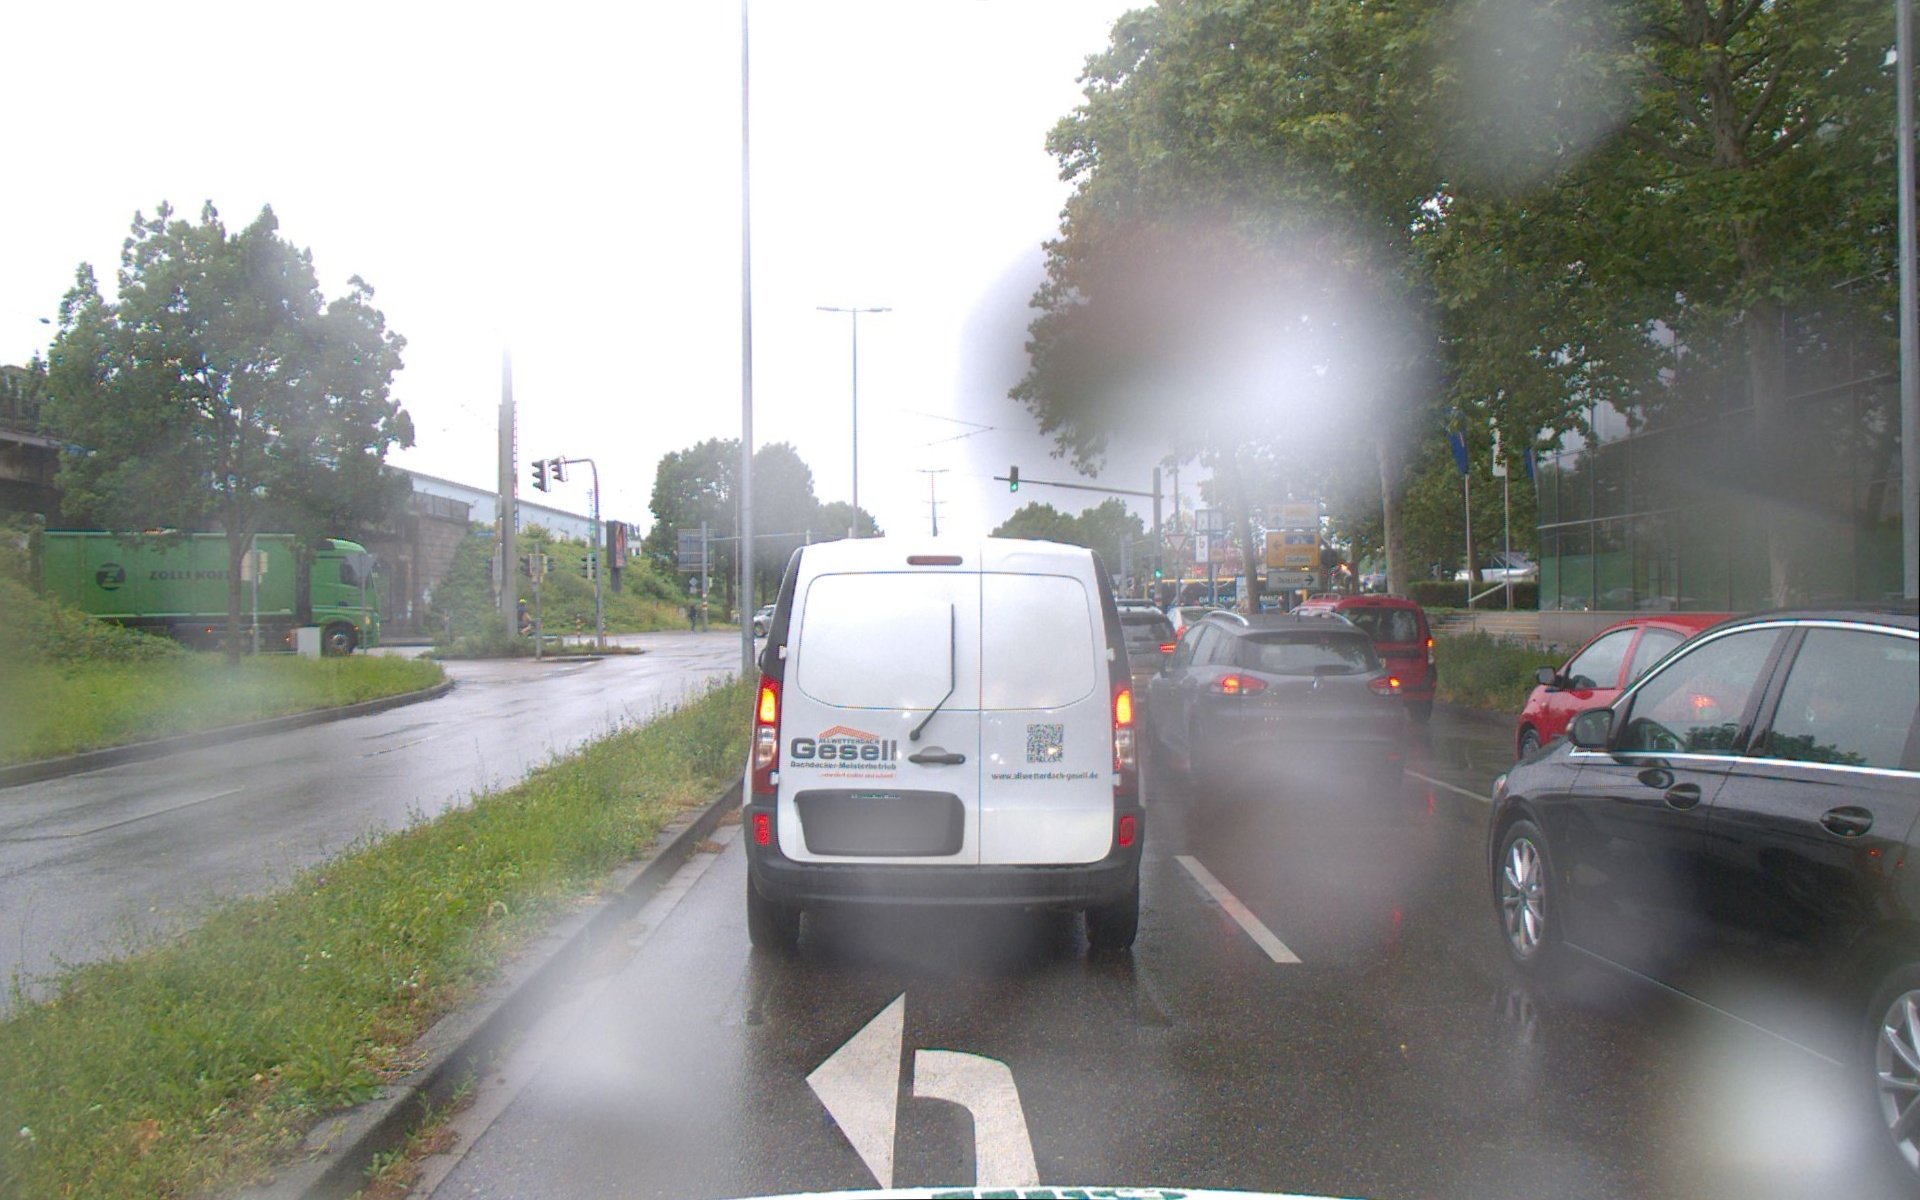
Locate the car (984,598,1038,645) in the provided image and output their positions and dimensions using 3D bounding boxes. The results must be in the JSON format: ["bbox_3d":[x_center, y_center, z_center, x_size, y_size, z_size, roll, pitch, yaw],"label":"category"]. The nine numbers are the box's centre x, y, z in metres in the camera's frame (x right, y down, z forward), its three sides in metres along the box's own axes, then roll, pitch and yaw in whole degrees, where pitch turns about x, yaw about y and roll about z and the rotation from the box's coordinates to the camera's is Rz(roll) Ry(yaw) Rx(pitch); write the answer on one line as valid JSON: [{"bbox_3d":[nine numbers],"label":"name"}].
[{"bbox_3d":[1.851,0.788,60.699,1.816,1.678,3.842,0,0,-1],"label":"car"}]

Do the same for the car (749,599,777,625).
[{"bbox_3d":[-12.622,0.759,106.110,1.439,1.586,3.506,-1,1,-1],"label":"car"}]

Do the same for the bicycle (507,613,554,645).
[{"bbox_3d":[-14.371,0.955,55.270,1.027,0.968,2.865,-1,1,-25],"label":"bicycle"}]

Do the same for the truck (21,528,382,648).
[{"bbox_3d":[-23.227,-0.354,51.153,9.956,3.430,2.316,0,0,-37],"label":"truck"}]

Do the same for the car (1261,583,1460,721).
[{"bbox_3d":[5.482,0.689,23.163,1.676,1.724,4.271,1,-1,-1],"label":"car"}]

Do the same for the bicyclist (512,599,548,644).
[{"bbox_3d":[-14.334,0.717,55.181,1.028,1.475,0.723,-1,0,-26],"label":"bicyclist"}]

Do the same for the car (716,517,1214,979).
[{"bbox_3d":[-0.009,0.567,8.782,1.953,1.807,4.584,0,0,-1],"label":"car"}]

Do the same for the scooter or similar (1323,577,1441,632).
[{"bbox_3d":[19.661,0.206,77.298,1.878,2.489,5.239,0,0,-41],"label":"scooter or similar"}]

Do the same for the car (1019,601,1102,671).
[{"bbox_3d":[2.502,0.884,42.047,1.816,1.678,3.842,0,0,-1],"label":"car"}]

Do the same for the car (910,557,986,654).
[{"bbox_3d":[-0.321,0.127,41.774,1.816,2.336,3.842,0,0,-1],"label":"car"}]

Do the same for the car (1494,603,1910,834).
[{"bbox_3d":[5.414,0.781,12.528,1.537,1.488,3.388,0,0,-2],"label":"car"}]

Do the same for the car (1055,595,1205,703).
[{"bbox_3d":[2.481,0.679,24.992,1.816,1.486,3.842,0,0,-1],"label":"car"}]

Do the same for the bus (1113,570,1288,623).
[{"bbox_3d":[16.678,-0.272,115.061,11.735,3.483,2.481,-1,0,-4],"label":"bus"}]

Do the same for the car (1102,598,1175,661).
[{"bbox_3d":[5.258,0.840,49.112,1.673,1.758,3.842,0,0,-1],"label":"car"}]

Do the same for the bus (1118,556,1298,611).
[{"bbox_3d":[16.586,-1.096,111.092,11.727,3.483,2.315,-1,0,-1],"label":"bus"}]

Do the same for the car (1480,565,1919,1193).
[{"bbox_3d":[3.241,0.706,5.383,1.712,1.582,4.089,0,0,-2],"label":"car"}]

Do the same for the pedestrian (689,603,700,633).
[{"bbox_3d":[-15.361,1.026,95.792,0.532,1.746,0.563,1,-1,-5],"label":"pedestrian"}]

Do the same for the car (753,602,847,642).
[{"bbox_3d":[-6.816,0.938,70.108,3.761,1.570,1.987,-2,-1,44],"label":"car"}]

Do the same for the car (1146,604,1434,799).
[{"bbox_3d":[2.733,0.781,14.525,1.649,1.433,3.842,1,0,-2],"label":"car"}]
